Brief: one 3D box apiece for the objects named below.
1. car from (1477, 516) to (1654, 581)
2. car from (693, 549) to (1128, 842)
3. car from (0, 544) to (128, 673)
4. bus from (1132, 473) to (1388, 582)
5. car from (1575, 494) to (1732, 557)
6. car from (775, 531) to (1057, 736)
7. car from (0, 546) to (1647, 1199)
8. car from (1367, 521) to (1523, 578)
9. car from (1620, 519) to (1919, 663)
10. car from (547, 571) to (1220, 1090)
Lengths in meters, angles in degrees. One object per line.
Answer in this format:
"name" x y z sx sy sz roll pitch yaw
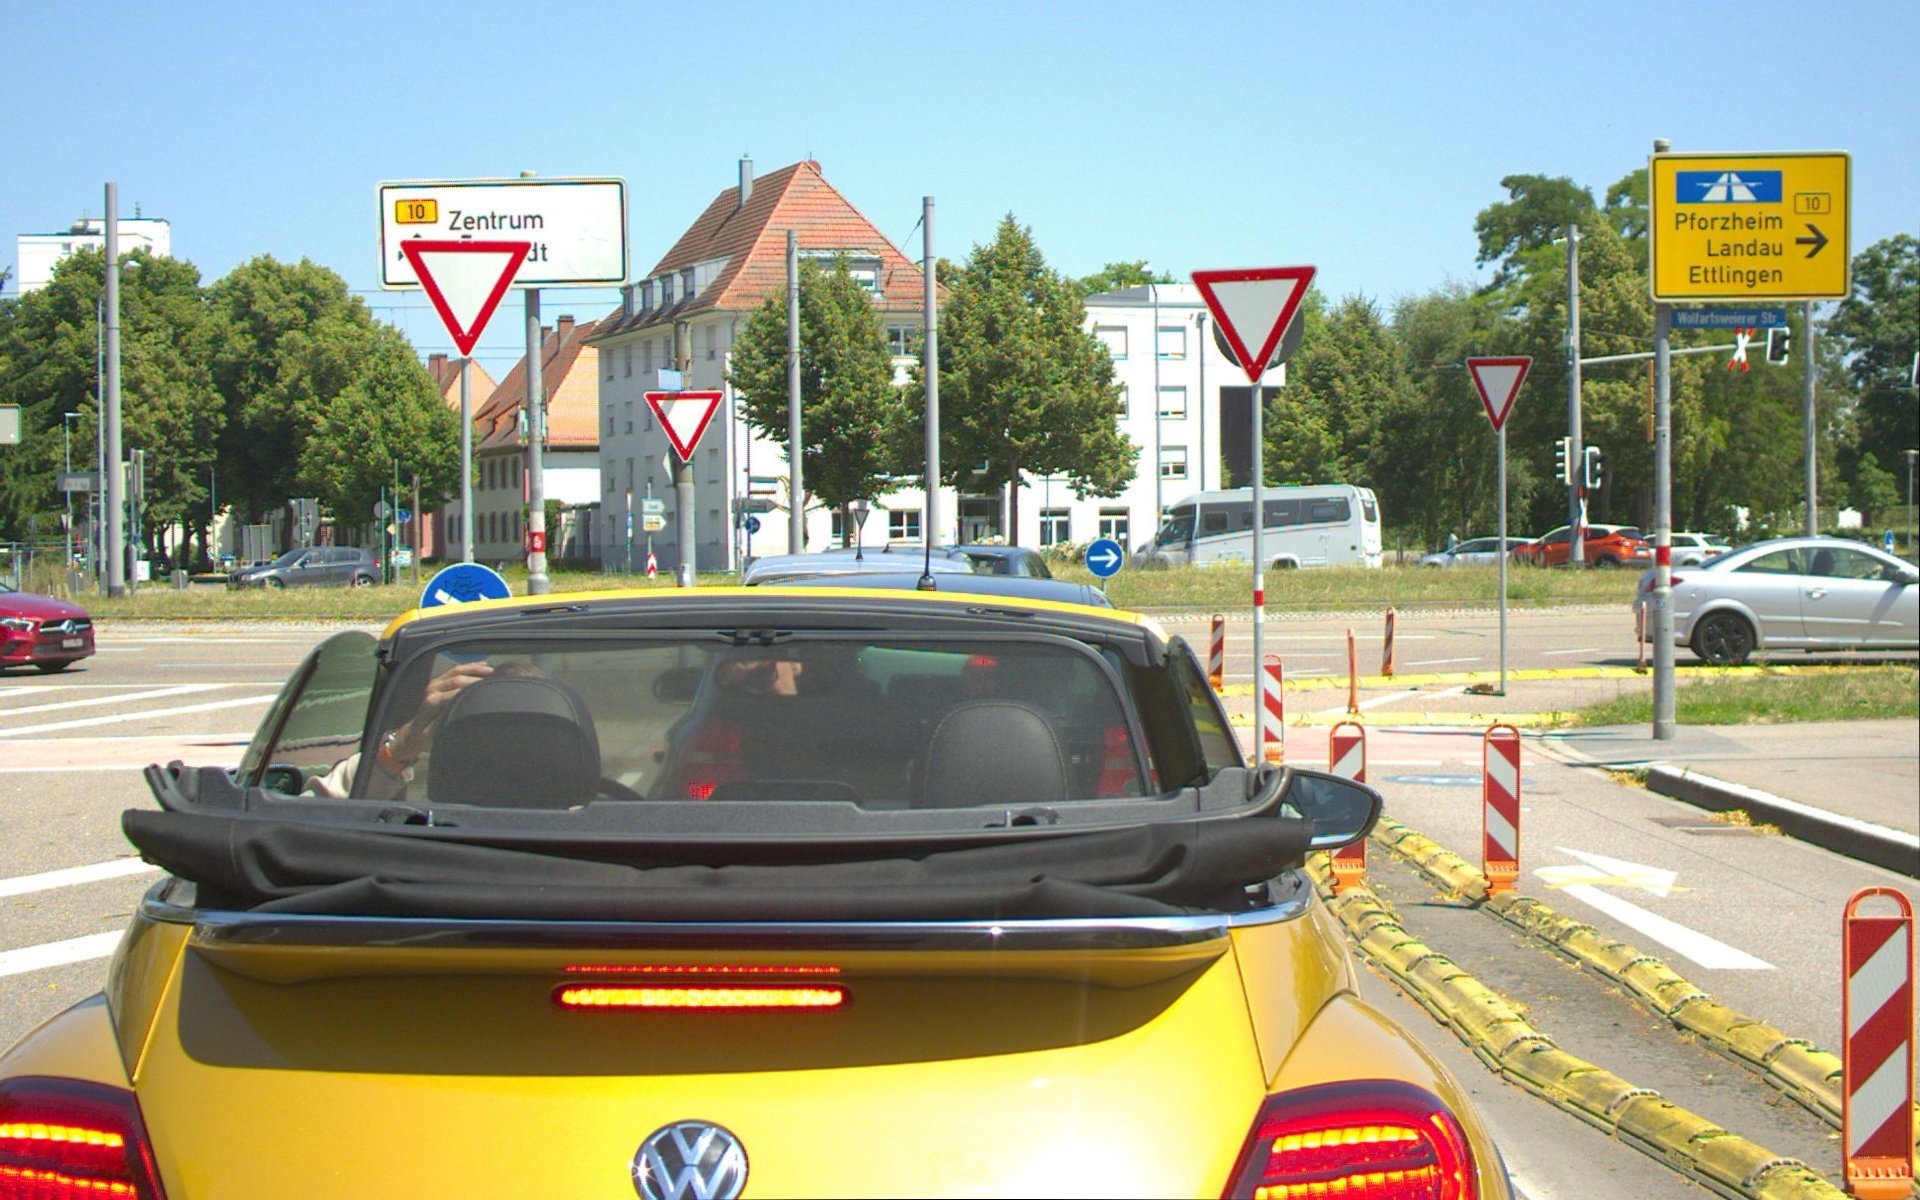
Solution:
"car" 16.706 -1.427 94.942 4.439 1.730 1.845 1 1 34
"car" -0.261 0.437 18.601 2.065 1.377 4.258 1 1 -1
"car" -12.712 0.067 42.328 4.409 1.522 1.998 1 1 19
"bus" 8.956 -2.171 102.812 7.261 3.161 2.258 1 0 23
"car" 19.761 -2.126 97.973 3.994 1.766 1.783 1 1 30
"car" -0.351 0.202 27.667 2.065 1.476 4.543 -1 1 -1
"car" -0.320 0.677 5.113 1.765 1.476 4.258 1 1 -1
"car" 15.049 -1.568 106.686 4.436 1.730 1.846 1 1 25
"car" 9.639 -0.122 38.099 4.406 1.522 2.000 -1 1 6
"car" -0.236 0.624 11.687 1.851 1.361 4.258 -1 1 -1
